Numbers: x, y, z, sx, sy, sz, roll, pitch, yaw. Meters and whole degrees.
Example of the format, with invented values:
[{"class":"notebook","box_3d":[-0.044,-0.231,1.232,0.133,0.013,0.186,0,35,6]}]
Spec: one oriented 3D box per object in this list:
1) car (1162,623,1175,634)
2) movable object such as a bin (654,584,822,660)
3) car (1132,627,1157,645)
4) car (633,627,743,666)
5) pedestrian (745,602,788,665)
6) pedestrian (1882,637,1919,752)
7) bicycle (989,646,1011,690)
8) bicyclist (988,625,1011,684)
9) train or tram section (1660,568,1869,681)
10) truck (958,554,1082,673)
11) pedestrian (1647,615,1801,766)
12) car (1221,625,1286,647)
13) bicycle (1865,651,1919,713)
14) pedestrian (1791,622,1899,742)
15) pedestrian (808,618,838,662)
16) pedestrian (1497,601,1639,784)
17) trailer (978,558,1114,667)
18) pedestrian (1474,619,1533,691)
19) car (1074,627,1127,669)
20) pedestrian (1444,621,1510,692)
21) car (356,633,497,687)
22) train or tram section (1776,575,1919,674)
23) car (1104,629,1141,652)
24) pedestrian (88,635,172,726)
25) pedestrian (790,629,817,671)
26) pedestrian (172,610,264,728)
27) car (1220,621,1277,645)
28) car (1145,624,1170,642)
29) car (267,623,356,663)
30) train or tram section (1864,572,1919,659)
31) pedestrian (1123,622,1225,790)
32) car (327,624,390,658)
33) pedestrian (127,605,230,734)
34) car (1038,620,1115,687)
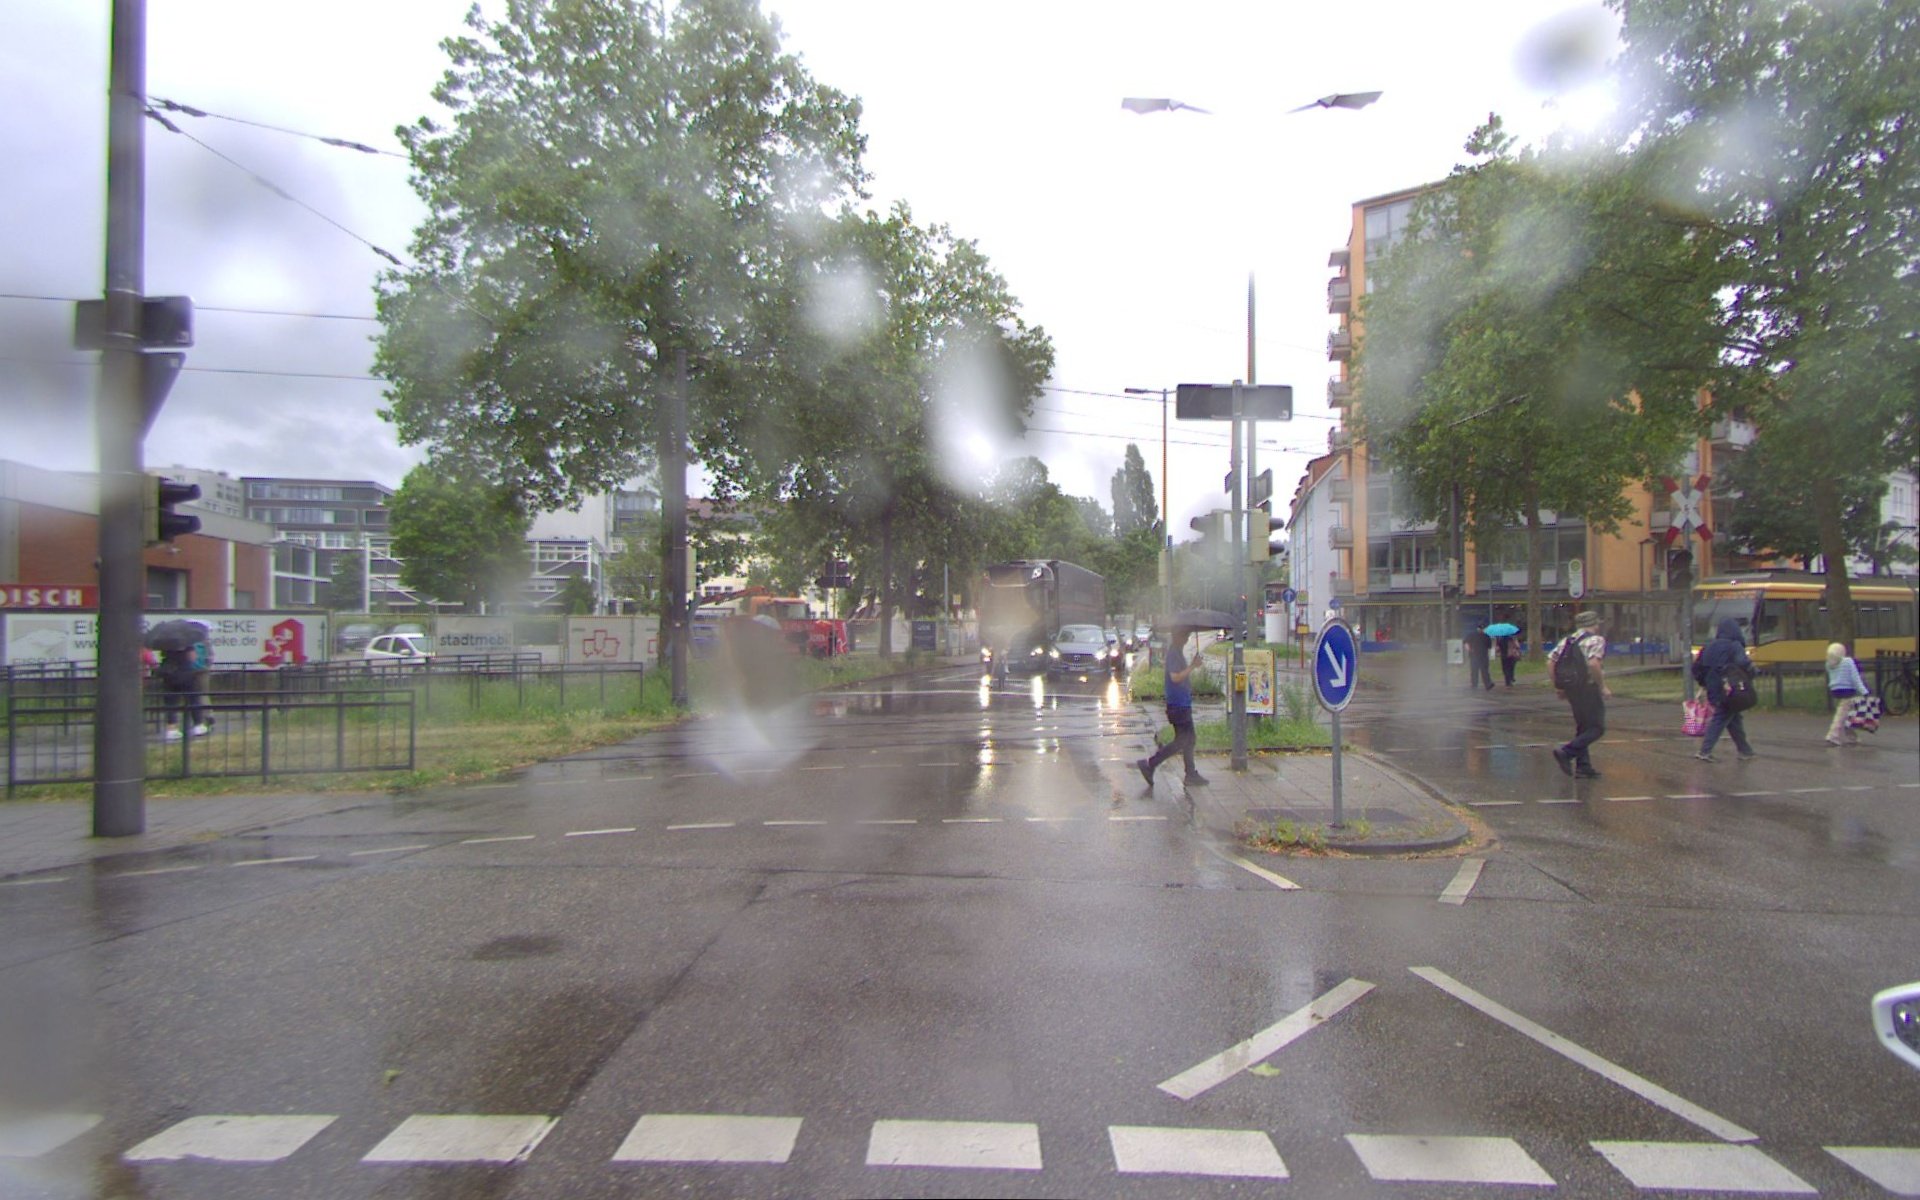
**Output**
[{"class":"car","box_3d":[31.745,4.356,152.841,1.745,1.550,4.002,0,0,8]},{"class":"movable object such as a bin","box_3d":[-9.336,0.911,42.187,6.652,2.969,2.772,0,-1,26]},{"class":"car","box_3d":[15.291,2.964,82.972,1.744,1.422,4.833,0,-1,14]},{"class":"car","box_3d":[-10.115,1.682,37.360,3.595,1.338,1.843,0,-1,23]},{"class":"pedestrian","box_3d":[-6.262,1.079,32.543,0.894,1.990,1.215,-1,-1,16]},{"class":"pedestrian","box_3d":[12.330,1.172,12.606,0.993,1.400,0.671,-1,-1,-15]},{"class":"bicycle","box_3d":[1.033,1.722,25.809,0.523,1.038,1.875,-1,-1,2]},{"class":"bicyclist","box_3d":[1.018,1.393,25.774,0.569,1.480,1.011,-1,-1,2]},{"class":"train or tram section","box_3d":[26.848,0.797,33.394,8.277,3.414,2.625,1,-1,-30]},{"class":"truck","box_3d":[2.485,0.526,38.695,3.392,4.132,6.977,0,-1,15]},{"class":"pedestrian","box_3d":[9.083,1.043,11.993,1.035,1.709,0.996,-1,-1,-1]},{"class":"car","box_3d":[21.411,2.634,73.447,4.457,1.489,1.984,-1,-2,16]},{"class":"bicycle","box_3d":[17.504,1.487,18.419,1.589,1.091,0.445,0,-1,-10]},{"class":"pedestrian","box_3d":[12.095,1.086,13.733,1.054,1.546,0.870,0,-1,-35]},{"class":"pedestrian","box_3d":[-5.258,1.518,38.575,0.897,1.671,0.748,0,-1,-31]},{"class":"pedestrian","box_3d":[6.358,0.925,10.524,0.979,1.805,0.809,-1,-1,-19]},{"class":"trailer","box_3d":[4.354,0.629,45.443,3.384,4.102,15.057,-1,-1,15]},{"class":"pedestrian","box_3d":[14.788,1.470,27.372,1.151,1.890,1.386,0,-1,16]},{"class":"car","box_3d":[5.240,1.732,37.108,1.669,1.391,4.102,0,-1,12]},{"class":"pedestrian","box_3d":[13.703,1.483,26.649,1.019,1.812,1.235,0,-1,-8]},{"class":"car","box_3d":[-14.945,1.643,28.109,3.599,1.338,1.840,0,-1,29]},{"class":"train or tram section","box_3d":[33.945,0.904,37.638,8.280,3.396,2.624,1,-1,-31]},{"class":"car","box_3d":[10.349,2.555,63.673,1.698,1.379,4.339,-1,-1,17]},{"class":"pedestrian","box_3d":[-14.469,1.386,17.541,0.814,1.524,0.847,-1,-1,-12]},{"class":"pedestrian","box_3d":[-5.820,1.848,37.399,0.632,1.535,0.769,-1,-1,37]},{"class":"pedestrian","box_3d":[-12.269,1.117,16.642,0.939,1.887,0.847,-1,-1,-12]},{"class":"car","box_3d":[22.866,2.587,79.739,4.160,1.829,1.946,-1,-2,12]},{"class":"car","box_3d":[19.029,3.174,96.707,1.882,1.661,4.824,0,-1,17]},{"class":"car","box_3d":[-30.772,1.993,47.848,2.133,1.764,4.792,0,-1,-14]},{"class":"train or tram section","box_3d":[41.709,0.668,42.349,9.872,3.396,2.624,1,-1,-31]},{"class":"pedestrian","box_3d":[2.126,1.033,10.053,0.846,1.602,0.643,-1,-1,-1]},{"class":"car","box_3d":[-32.964,2.211,55.207,1.969,1.760,4.883,0,-1,-19]},{"class":"pedestrian","box_3d":[-11.930,1.033,15.366,0.939,1.887,0.847,-1,-1,-12]},{"class":"car","box_3d":[3.629,1.545,30.617,2.038,1.705,4.932,2,1,10]}]
